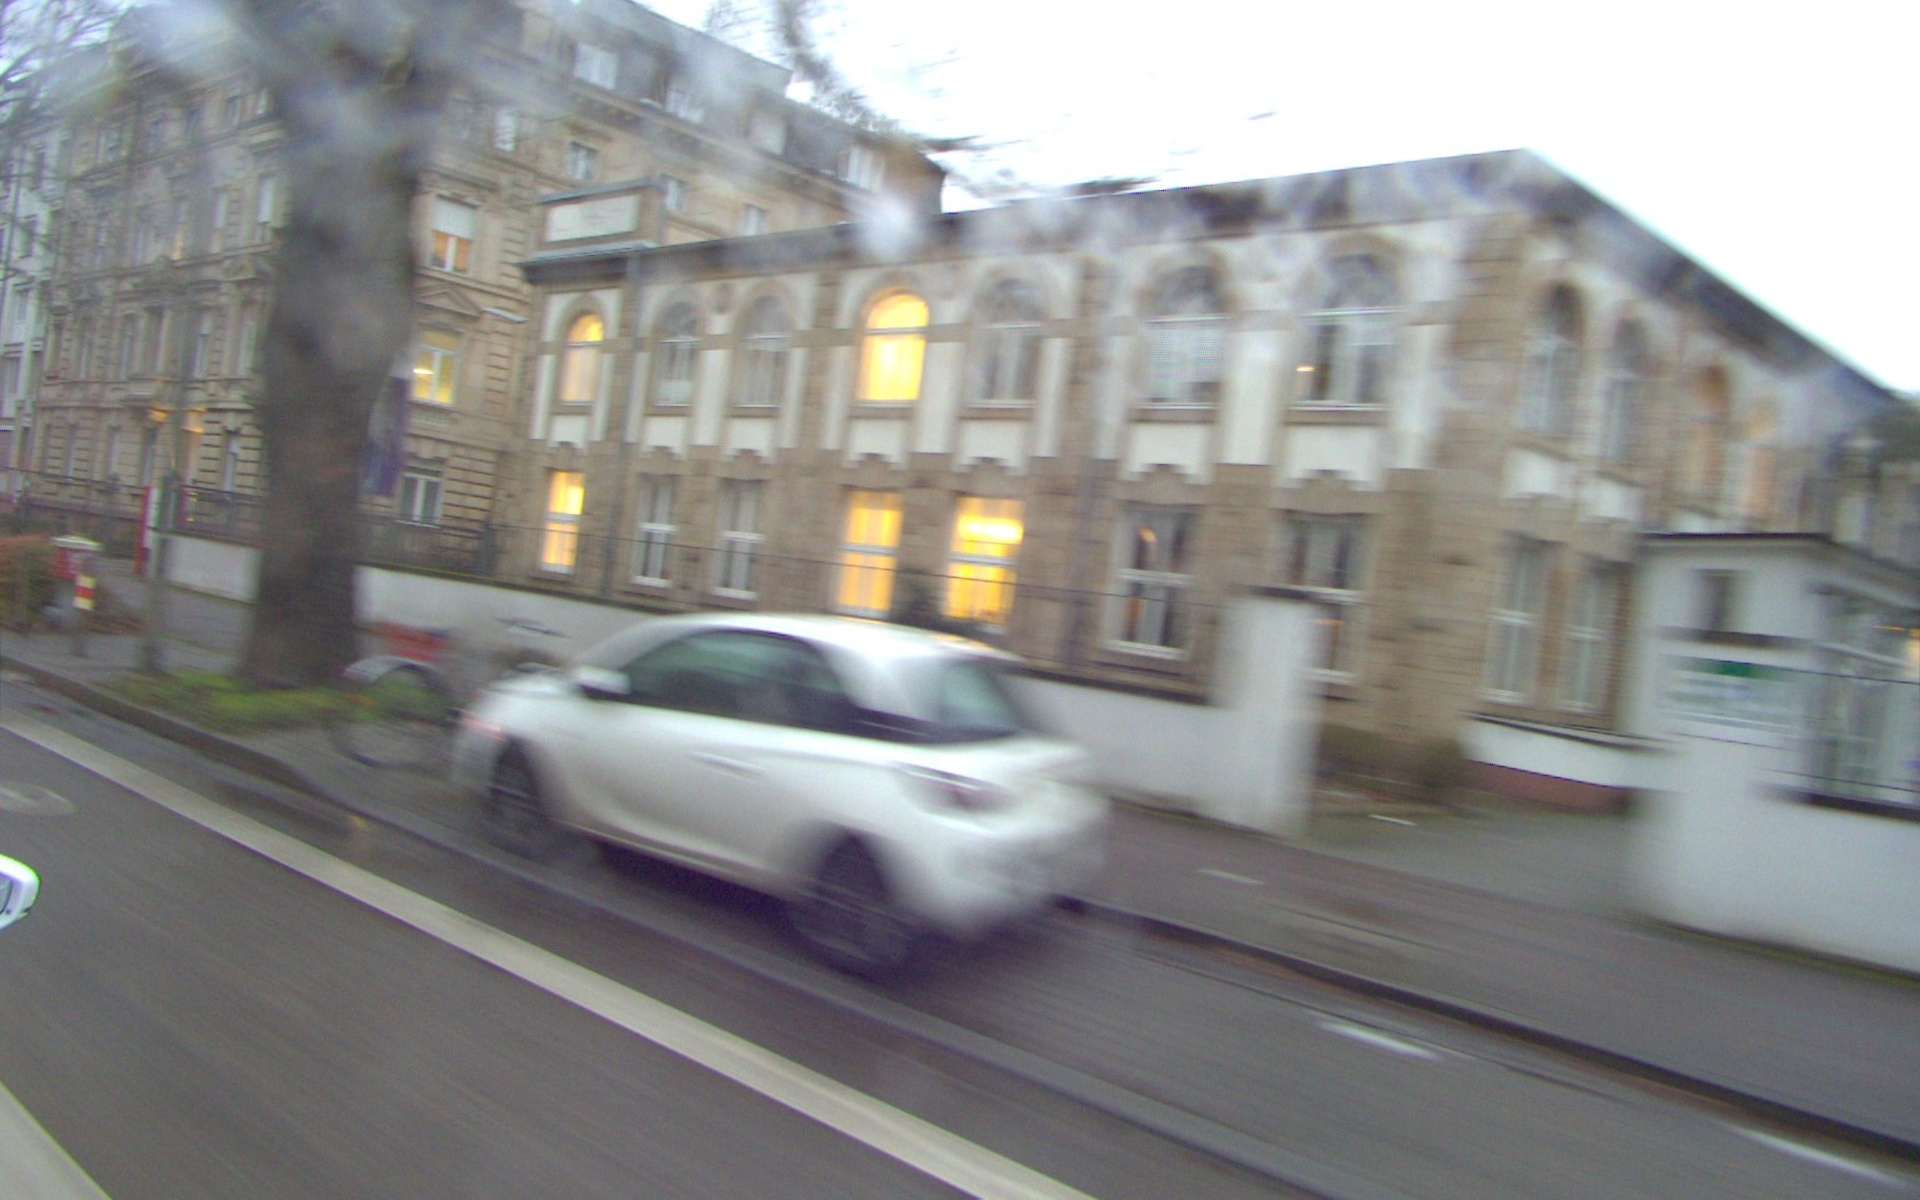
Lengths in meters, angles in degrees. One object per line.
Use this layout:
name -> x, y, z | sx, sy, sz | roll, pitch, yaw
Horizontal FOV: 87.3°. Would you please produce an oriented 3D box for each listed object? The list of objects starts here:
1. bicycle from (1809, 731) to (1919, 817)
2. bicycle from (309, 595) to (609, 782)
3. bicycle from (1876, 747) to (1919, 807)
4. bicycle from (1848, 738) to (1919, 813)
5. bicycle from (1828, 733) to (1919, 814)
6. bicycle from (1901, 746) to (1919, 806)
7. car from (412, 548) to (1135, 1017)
bicycle -> 15.955, 3.006, 17.123 | 0.566, 1.171, 2.126 | 7, 0, -28
bicycle -> -3.439, 0.605, 7.069 | 0.652, 1.084, 1.715 | 8, 0, 31
bicycle -> 19.016, 3.552, 19.182 | 0.566, 1.030, 2.125 | 7, 2, -28
bicycle -> 17.461, 3.255, 18.036 | 0.566, 1.171, 2.126 | 7, 0, -28
bicycle -> 16.677, 3.110, 17.573 | 0.566, 1.171, 2.126 | 7, 0, -28
bicycle -> 20.107, 3.666, 19.808 | 0.566, 1.171, 2.126 | 7, 0, -28
car -> -1.101, 0.735, 5.593 | 3.575, 1.538, 1.694 | 8, 0, 30
